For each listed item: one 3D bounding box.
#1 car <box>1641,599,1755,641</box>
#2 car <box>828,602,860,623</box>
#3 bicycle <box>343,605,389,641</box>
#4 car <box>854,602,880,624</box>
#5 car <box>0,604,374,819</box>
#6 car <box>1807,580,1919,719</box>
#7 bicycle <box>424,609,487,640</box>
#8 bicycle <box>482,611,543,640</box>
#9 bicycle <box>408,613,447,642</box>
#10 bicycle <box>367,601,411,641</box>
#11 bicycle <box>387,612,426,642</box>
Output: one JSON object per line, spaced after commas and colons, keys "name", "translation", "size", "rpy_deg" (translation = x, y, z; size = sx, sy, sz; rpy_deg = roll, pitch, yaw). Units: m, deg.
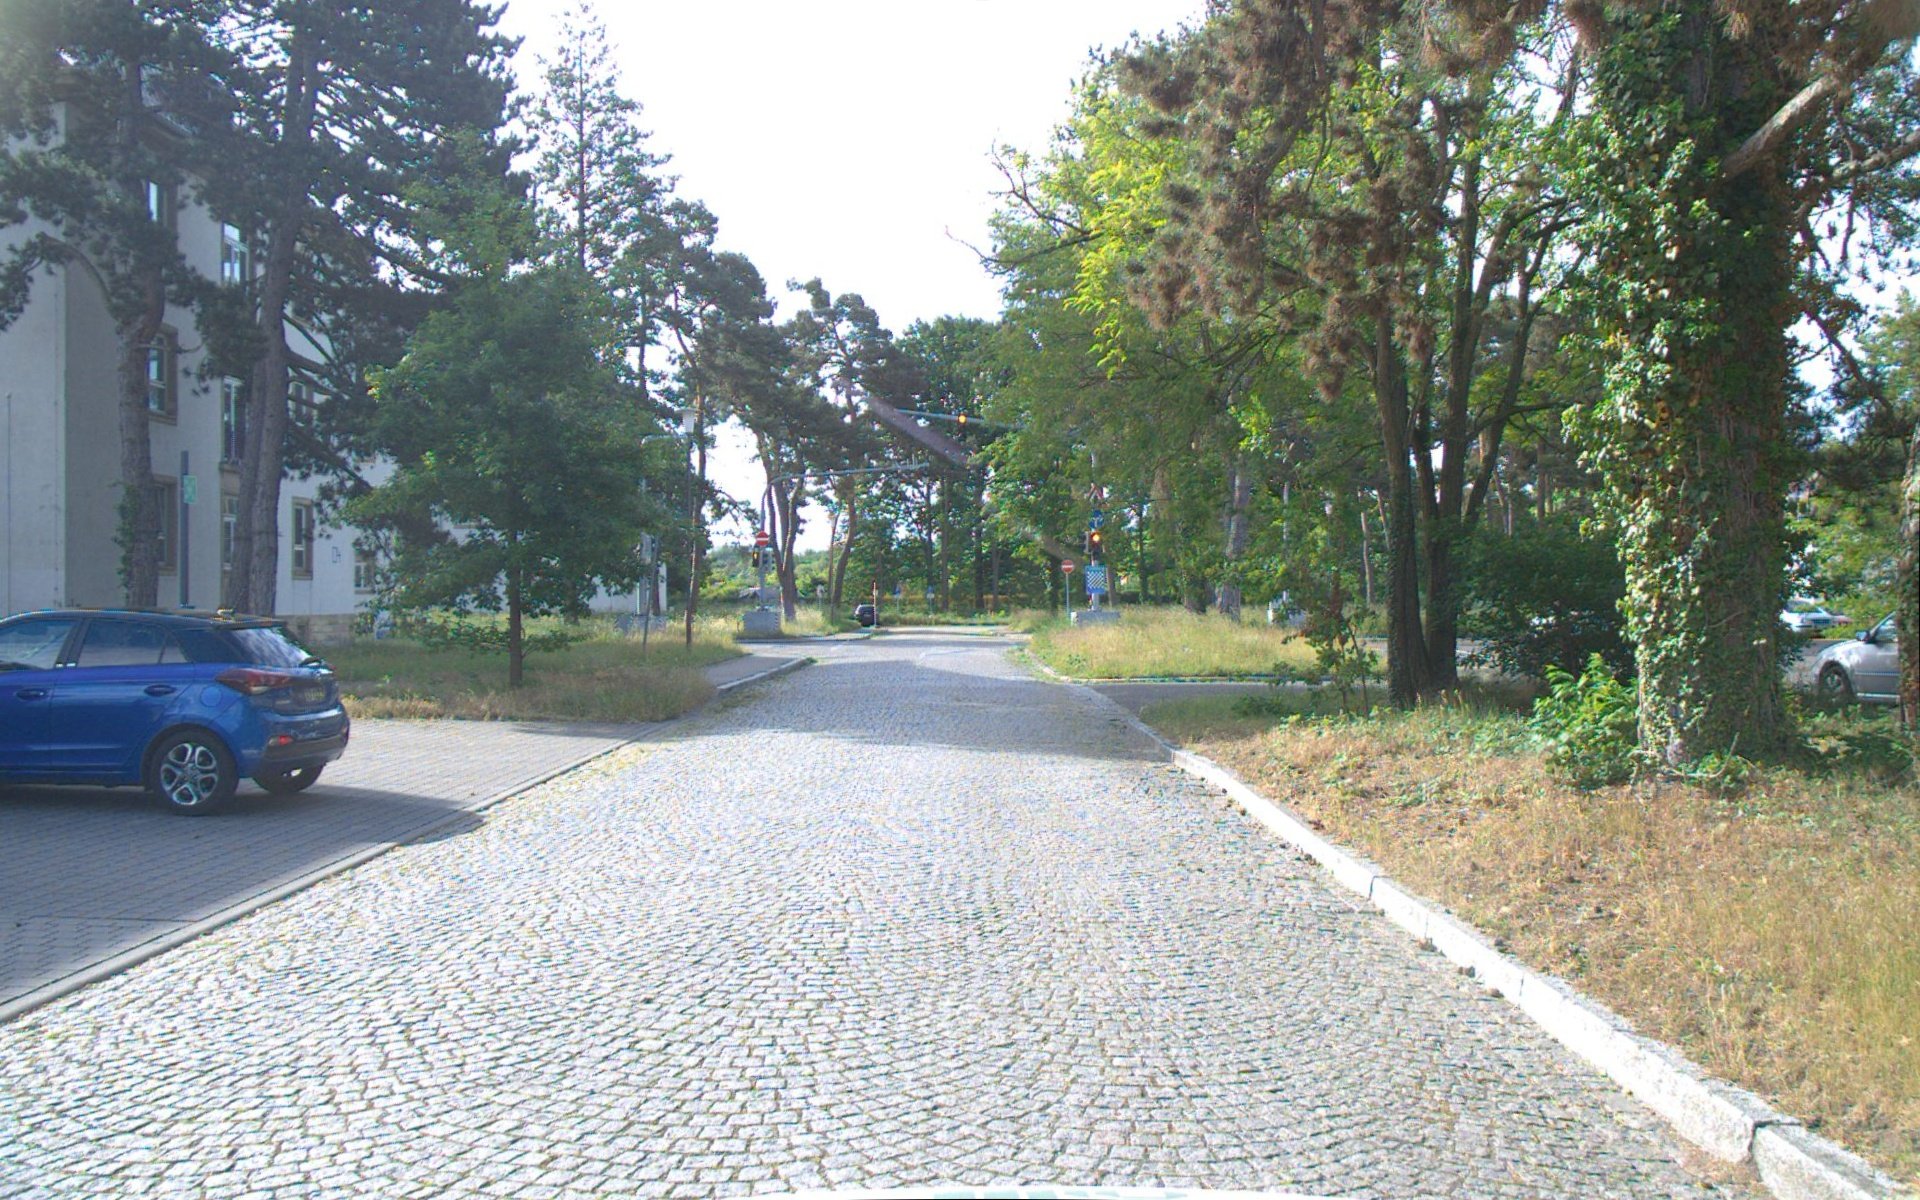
{"name": "car", "translation": [25.092, 0.670, 56.425], "size": [1.697, 1.335, 4.328], "rpy_deg": [2, 0, -4]}
{"name": "car", "translation": [-8.676, 0.918, 123.822], "size": [1.745, 1.516, 3.758], "rpy_deg": [0, 0, 7]}
{"name": "bicycle", "translation": [-22.459, 0.864, 62.579], "size": [0.809, 1.303, 2.553], "rpy_deg": [0, 0, -1]}
{"name": "car", "translation": [-6.702, 0.919, 119.152], "size": [1.808, 1.512, 3.998], "rpy_deg": [0, 0, -3]}
{"name": "car", "translation": [-6.798, 0.809, 12.933], "size": [3.757, 1.489, 1.720], "rpy_deg": [1, 0, 1]}
{"name": "car", "translation": [11.137, 0.529, 17.951], "size": [1.634, 1.493, 3.997], "rpy_deg": [0, 0, -4]}
{"name": "bicycle", "translation": [-18.719, 0.915, 61.382], "size": [2.075, 1.128, 0.828], "rpy_deg": [0, 0, -4]}
{"name": "bicycle", "translation": [-16.636, 0.952, 61.506], "size": [2.075, 1.065, 0.828], "rpy_deg": [0, 0, -4]}
{"name": "bicycle", "translation": [-20.157, 1.026, 62.613], "size": [0.809, 1.065, 2.124], "rpy_deg": [0, 0, -1]}
{"name": "bicycle", "translation": [-21.704, 0.786, 62.891], "size": [0.809, 1.462, 2.553], "rpy_deg": [0, 0, -1]}
{"name": "bicycle", "translation": [-20.924, 1.011, 62.559], "size": [0.809, 1.065, 2.124], "rpy_deg": [0, 0, -1]}
